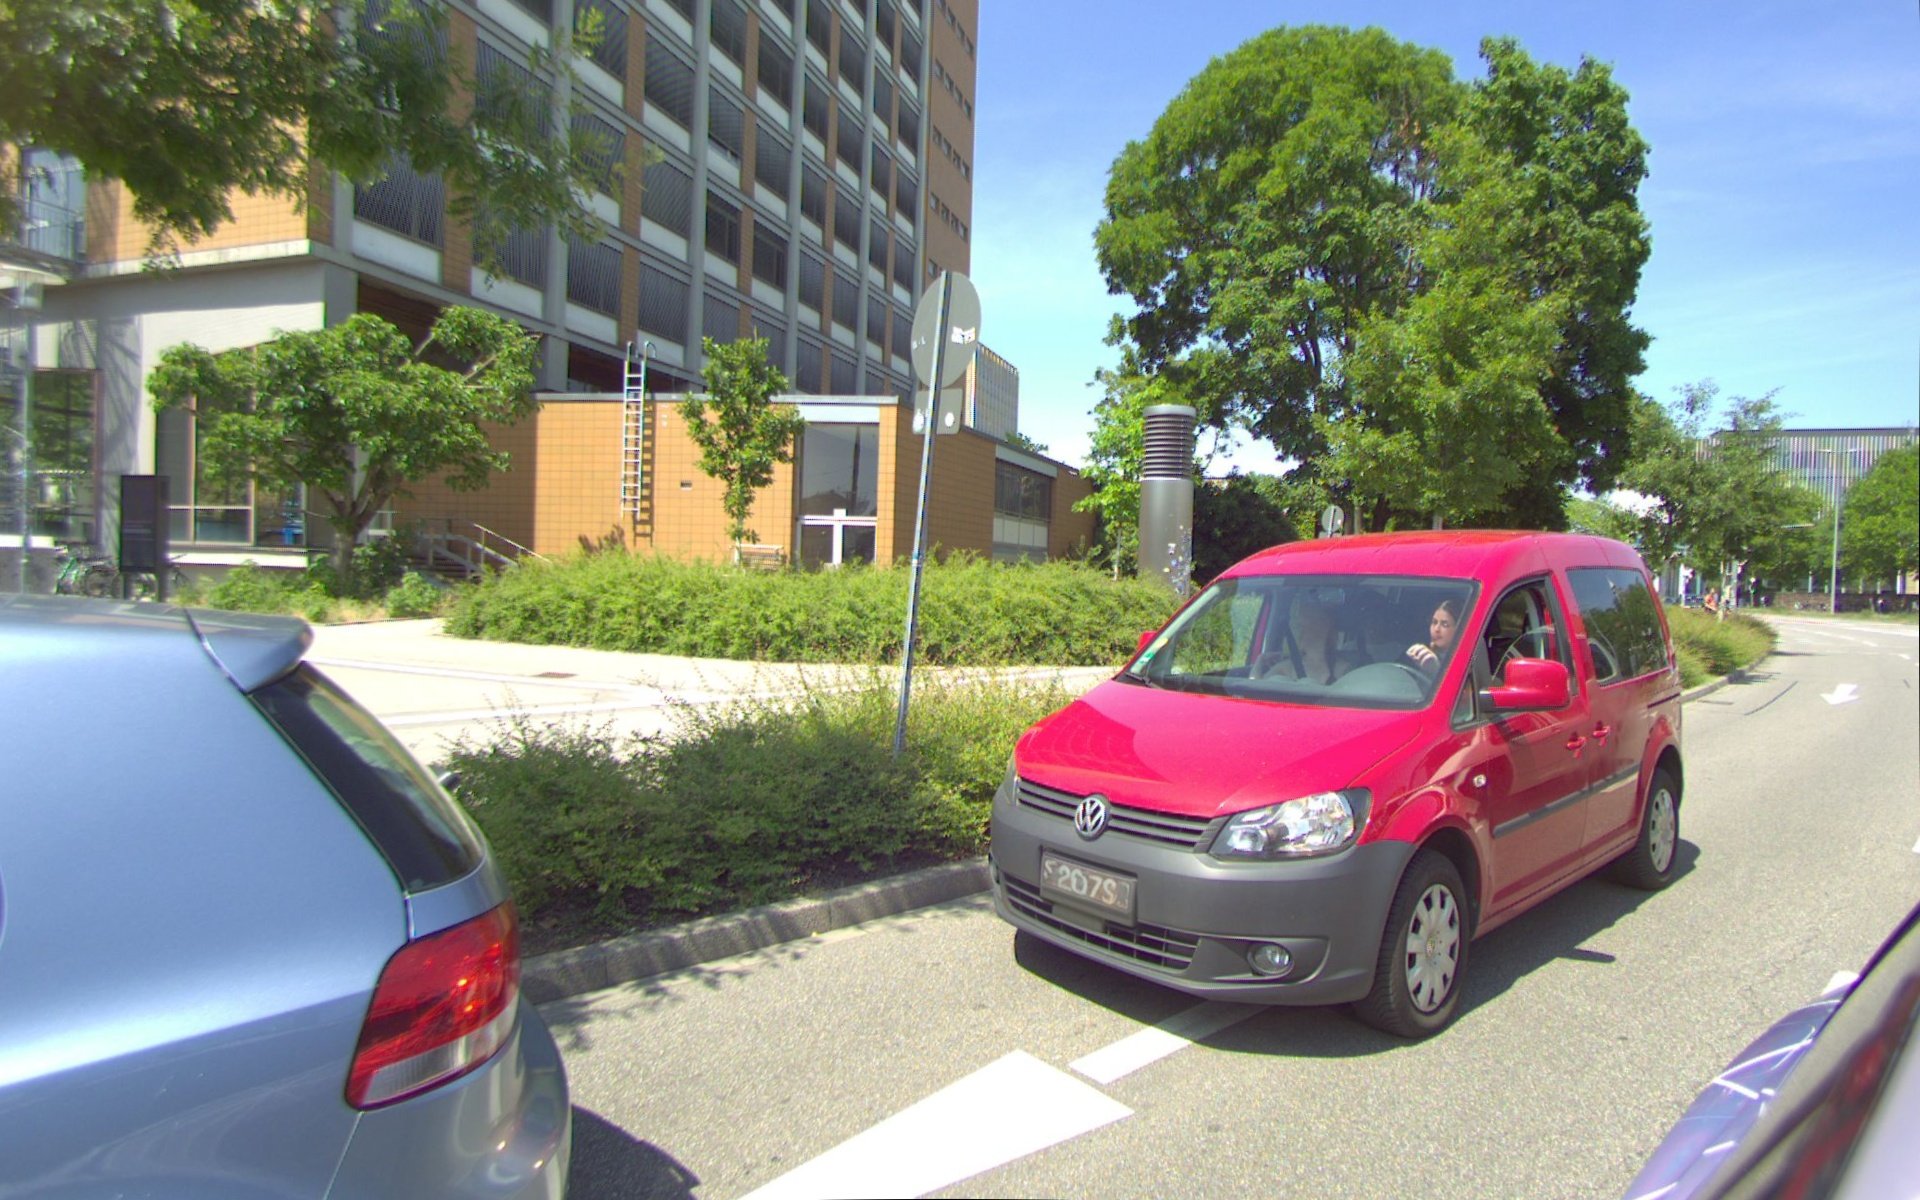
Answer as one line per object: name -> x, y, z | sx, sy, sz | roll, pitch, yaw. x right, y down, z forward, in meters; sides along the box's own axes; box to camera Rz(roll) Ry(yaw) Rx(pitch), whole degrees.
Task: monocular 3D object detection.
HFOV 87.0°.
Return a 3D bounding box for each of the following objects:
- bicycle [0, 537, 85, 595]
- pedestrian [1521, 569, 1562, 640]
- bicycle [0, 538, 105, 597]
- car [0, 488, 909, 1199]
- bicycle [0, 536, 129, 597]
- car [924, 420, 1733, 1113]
bicycle -> -20.728, -0.738, 22.272 | 0.630, 1.233, 2.201 | 0, 0, 22
pedestrian -> 15.170, 0.111, 26.406 | 0.603, 1.820, 0.728 | 1, 1, -40
bicycle -> -20.101, -0.690, 22.055 | 0.630, 1.233, 2.201 | 0, 0, 22
car -> -2.109, 0.615, 1.125 | 3.933, 1.477, 1.654 | 0, 0, -41
bicycle -> -19.221, -0.689, 21.662 | 0.630, 1.233, 2.201 | 0, 0, 22
car -> 2.090, 0.442, 4.841 | 4.465, 1.882, 1.654 | 0, 1, -41
